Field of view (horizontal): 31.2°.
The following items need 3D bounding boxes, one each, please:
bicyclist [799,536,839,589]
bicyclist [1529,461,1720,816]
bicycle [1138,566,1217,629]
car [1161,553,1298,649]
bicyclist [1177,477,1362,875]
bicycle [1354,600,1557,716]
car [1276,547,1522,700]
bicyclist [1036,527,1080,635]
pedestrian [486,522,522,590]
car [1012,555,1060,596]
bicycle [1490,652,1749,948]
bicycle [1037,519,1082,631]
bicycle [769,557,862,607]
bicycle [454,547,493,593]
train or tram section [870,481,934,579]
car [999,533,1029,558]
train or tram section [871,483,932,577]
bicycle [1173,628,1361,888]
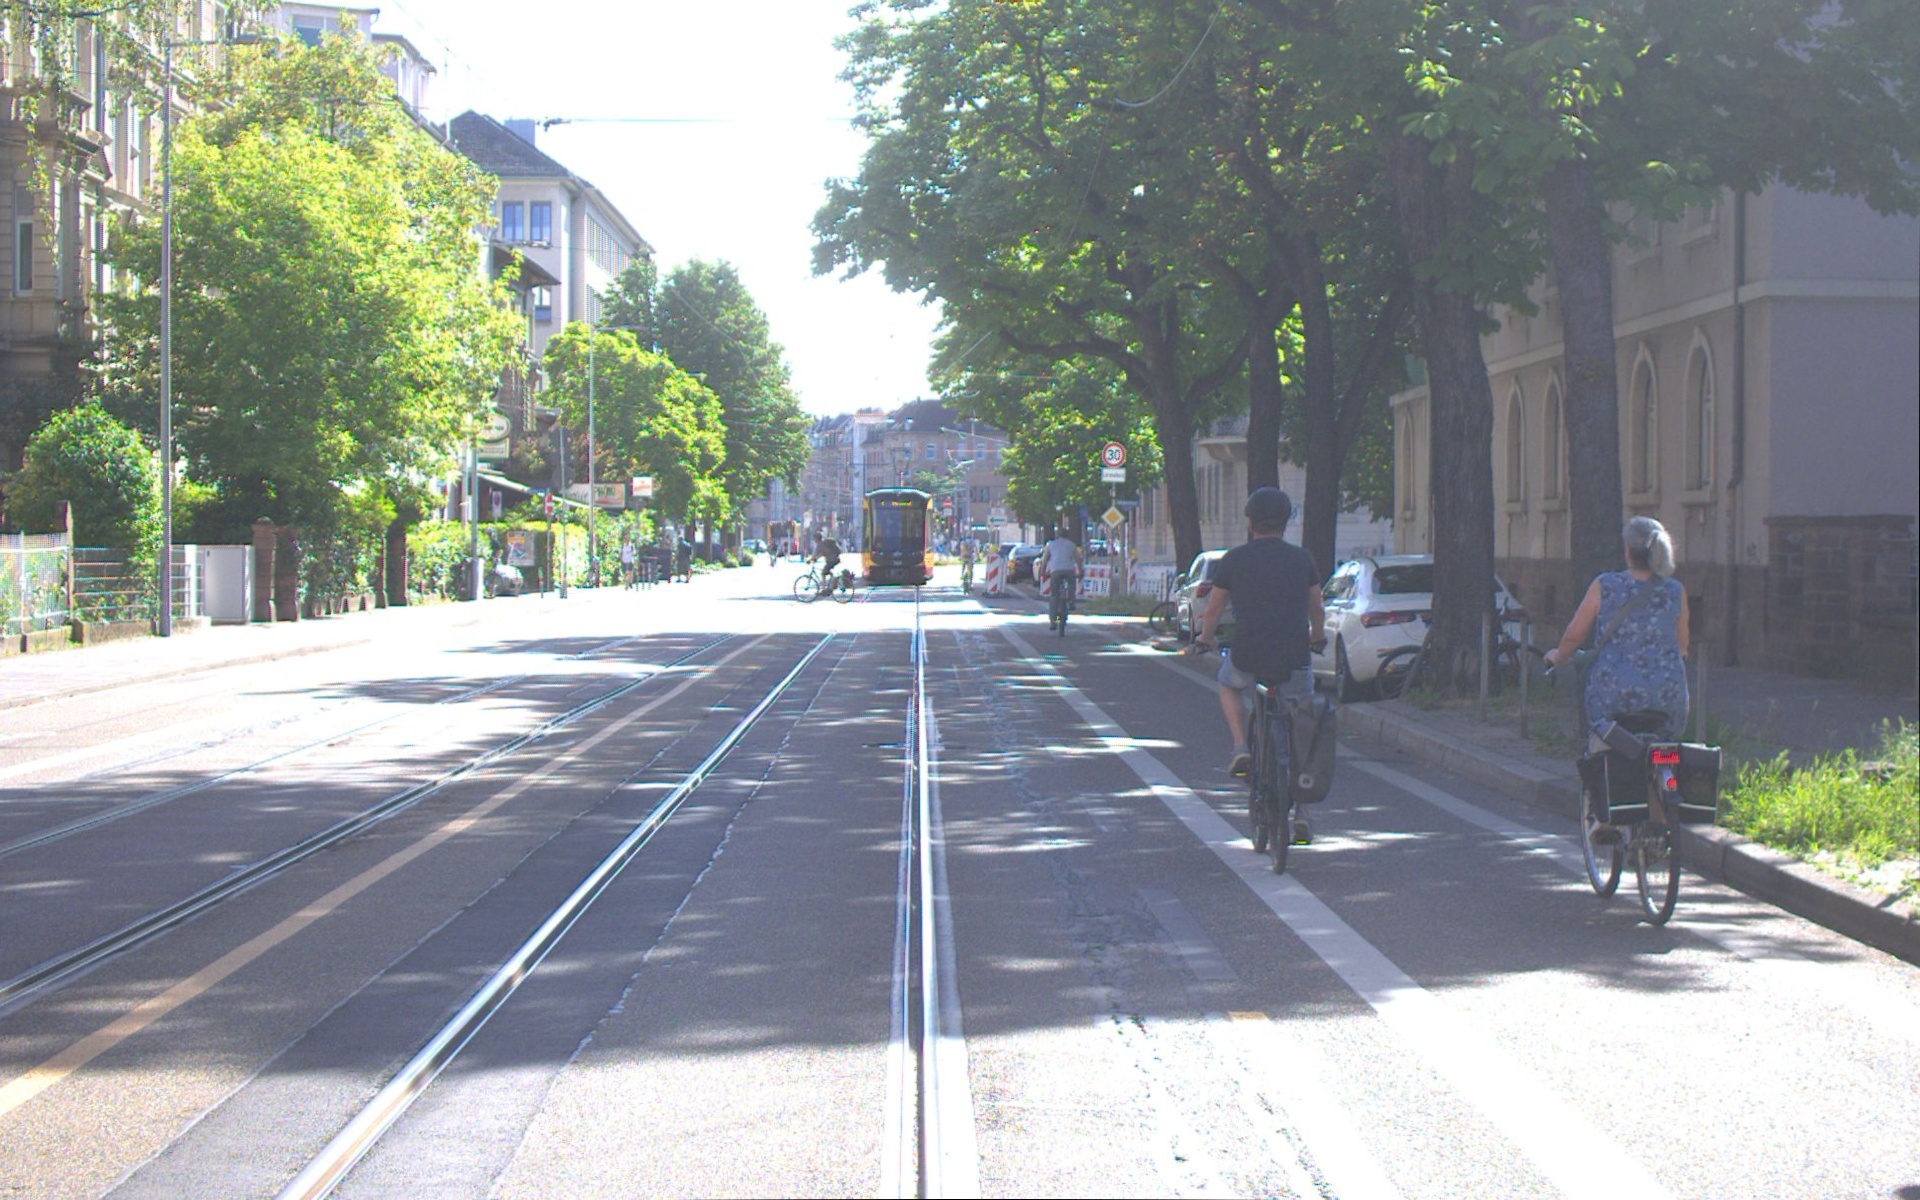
[{"bbox_3d":[-3.547,-0.938,86.333,0.772,1.287,0.733,2,1,16],"label":"bicyclist"},{"bbox_3d":[2.826,0.155,14.668,0.635,1.463,0.616,2,1,-1],"label":"bicyclist"},{"bbox_3d":[3.745,-0.042,59.182,1.270,1.020,0.704,2,0,7],"label":"bicycle"},{"bbox_3d":[4.188,-0.015,53.889,1.748,1.415,4.000,0,1,-1],"label":"car"},{"bbox_3d":[1.476,0.348,16.514,0.727,1.842,0.837,2,1,-1],"label":"bicyclist"},{"bbox_3d":[4.654,0.539,32.340,1.792,1.016,0.620,-2,1,-1],"label":"bicycle"},{"bbox_3d":[4.409,0.191,35.185,1.628,1.431,4.666,0,1,-4],"label":"car"},{"bbox_3d":[1.656,-0.326,58.221,0.645,1.789,0.956,2,1,-1],"label":"bicyclist"},{"bbox_3d":[-11.606,-1.116,87.519,0.770,1.706,0.669,2,1,0],"label":"pedestrian"},{"bbox_3d":[3.010,-0.981,136.681,1.754,1.546,3.677,2,1,-1],"label":"car"},{"bbox_3d":[2.815,0.824,14.860,0.692,1.108,1.917,2,1,-1],"label":"bicycle"},{"bbox_3d":[1.688,-0.441,58.858,0.663,1.853,2.260,2,1,1],"label":"bicycle"},{"bbox_3d":[-3.632,-0.458,86.467,2.141,1.167,0.802,2,1,15],"label":"bicycle"},{"bbox_3d":[-11.932,-0.736,84.244,0.632,1.065,1.832,2,1,-17],"label":"bicycle"},{"bbox_3d":[-2.113,-2.561,125.418,2.153,3.420,6.612,2,1,-1],"label":"train or tram section"},{"bbox_3d":[3.701,-3.740,234.650,1.872,1.657,3.515,2,1,-1],"label":"car"},{"bbox_3d":[-2.245,-2.688,132.050,2.153,3.420,6.612,2,1,-1],"label":"train or tram section"},{"bbox_3d":[1.448,0.726,16.479,0.692,1.108,1.719,2,1,-1],"label":"bicycle"}]
